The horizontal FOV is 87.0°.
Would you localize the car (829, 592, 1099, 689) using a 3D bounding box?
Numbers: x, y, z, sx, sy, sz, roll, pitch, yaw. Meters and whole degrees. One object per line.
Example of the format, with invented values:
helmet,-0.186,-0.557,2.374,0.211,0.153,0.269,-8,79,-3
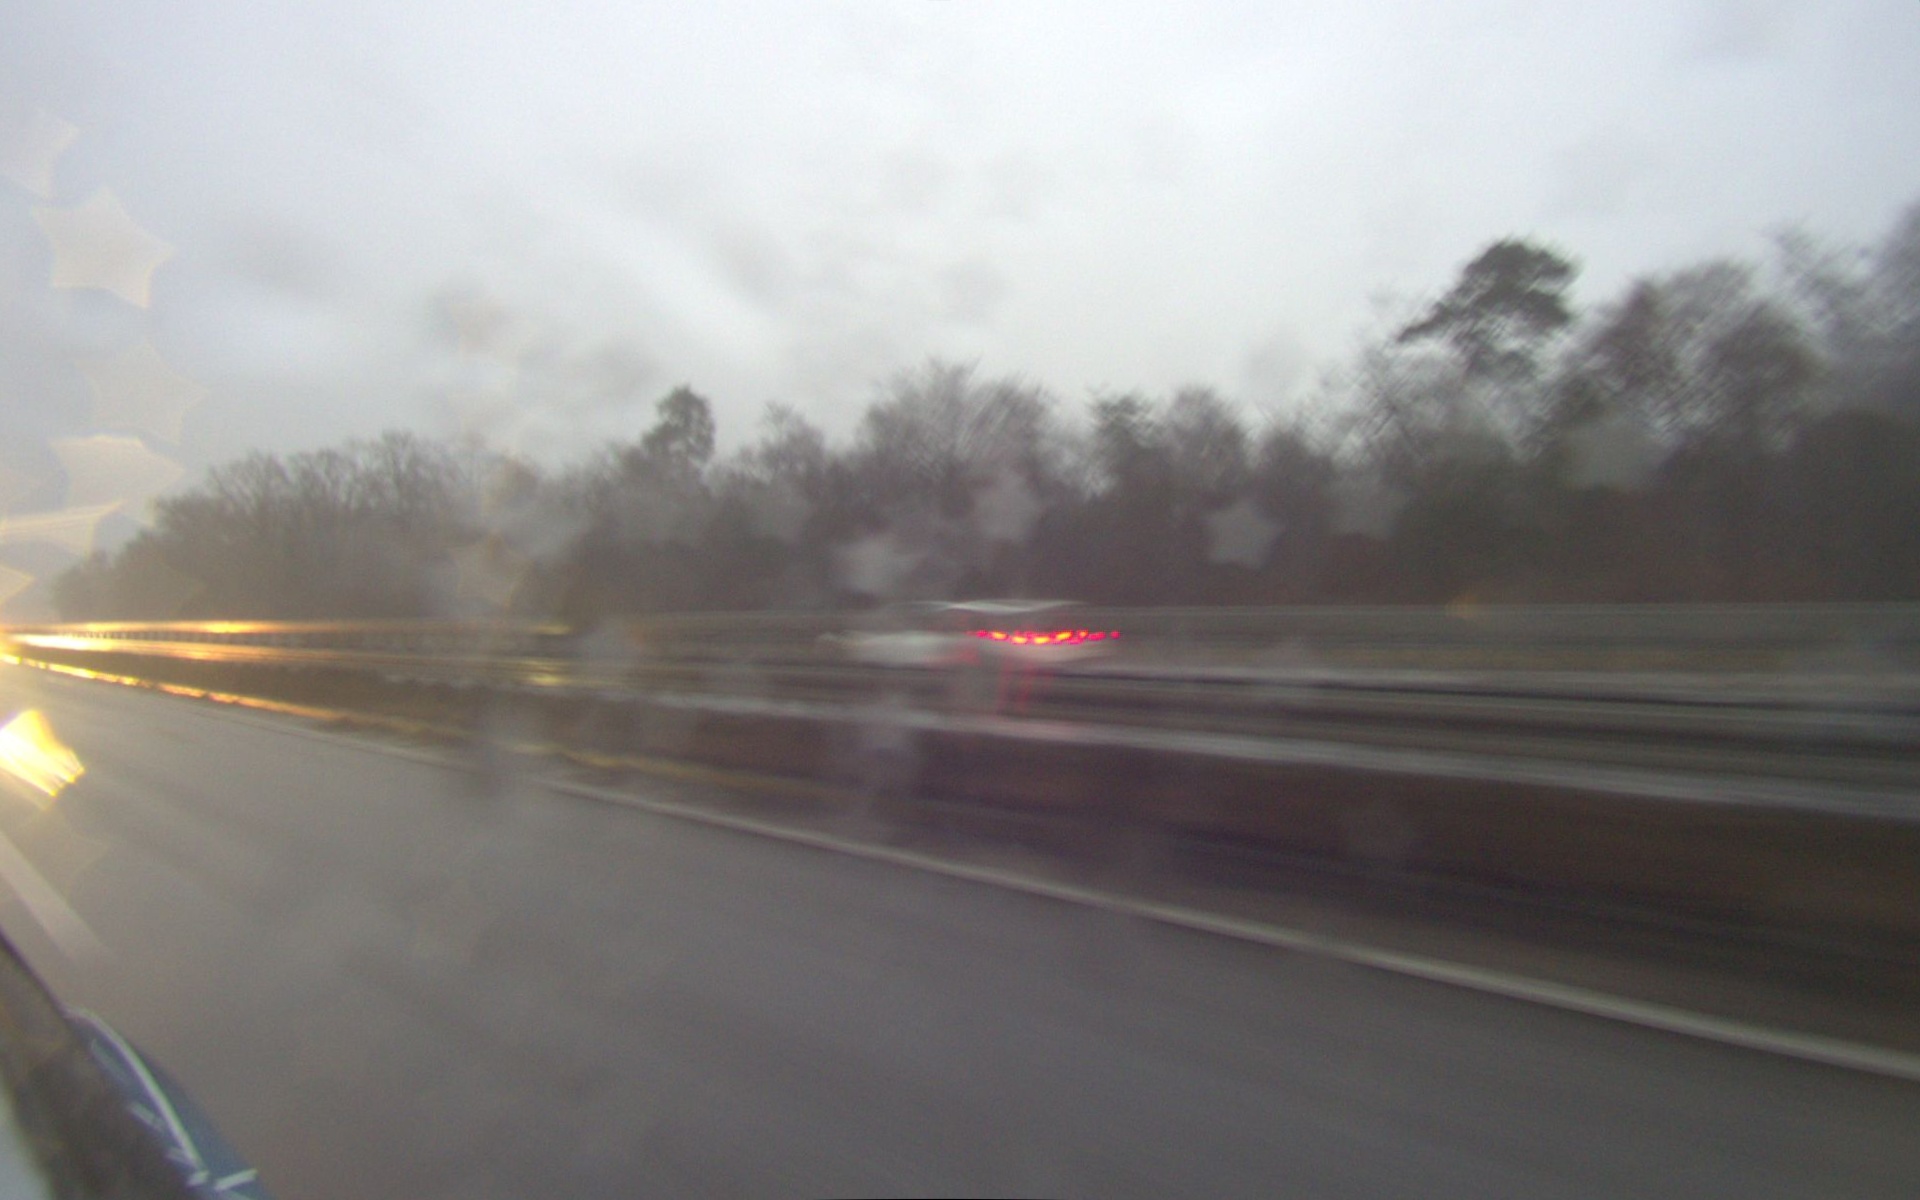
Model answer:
car,-0.035,0.734,18.980,4.954,1.601,1.973,-2,-2,40
